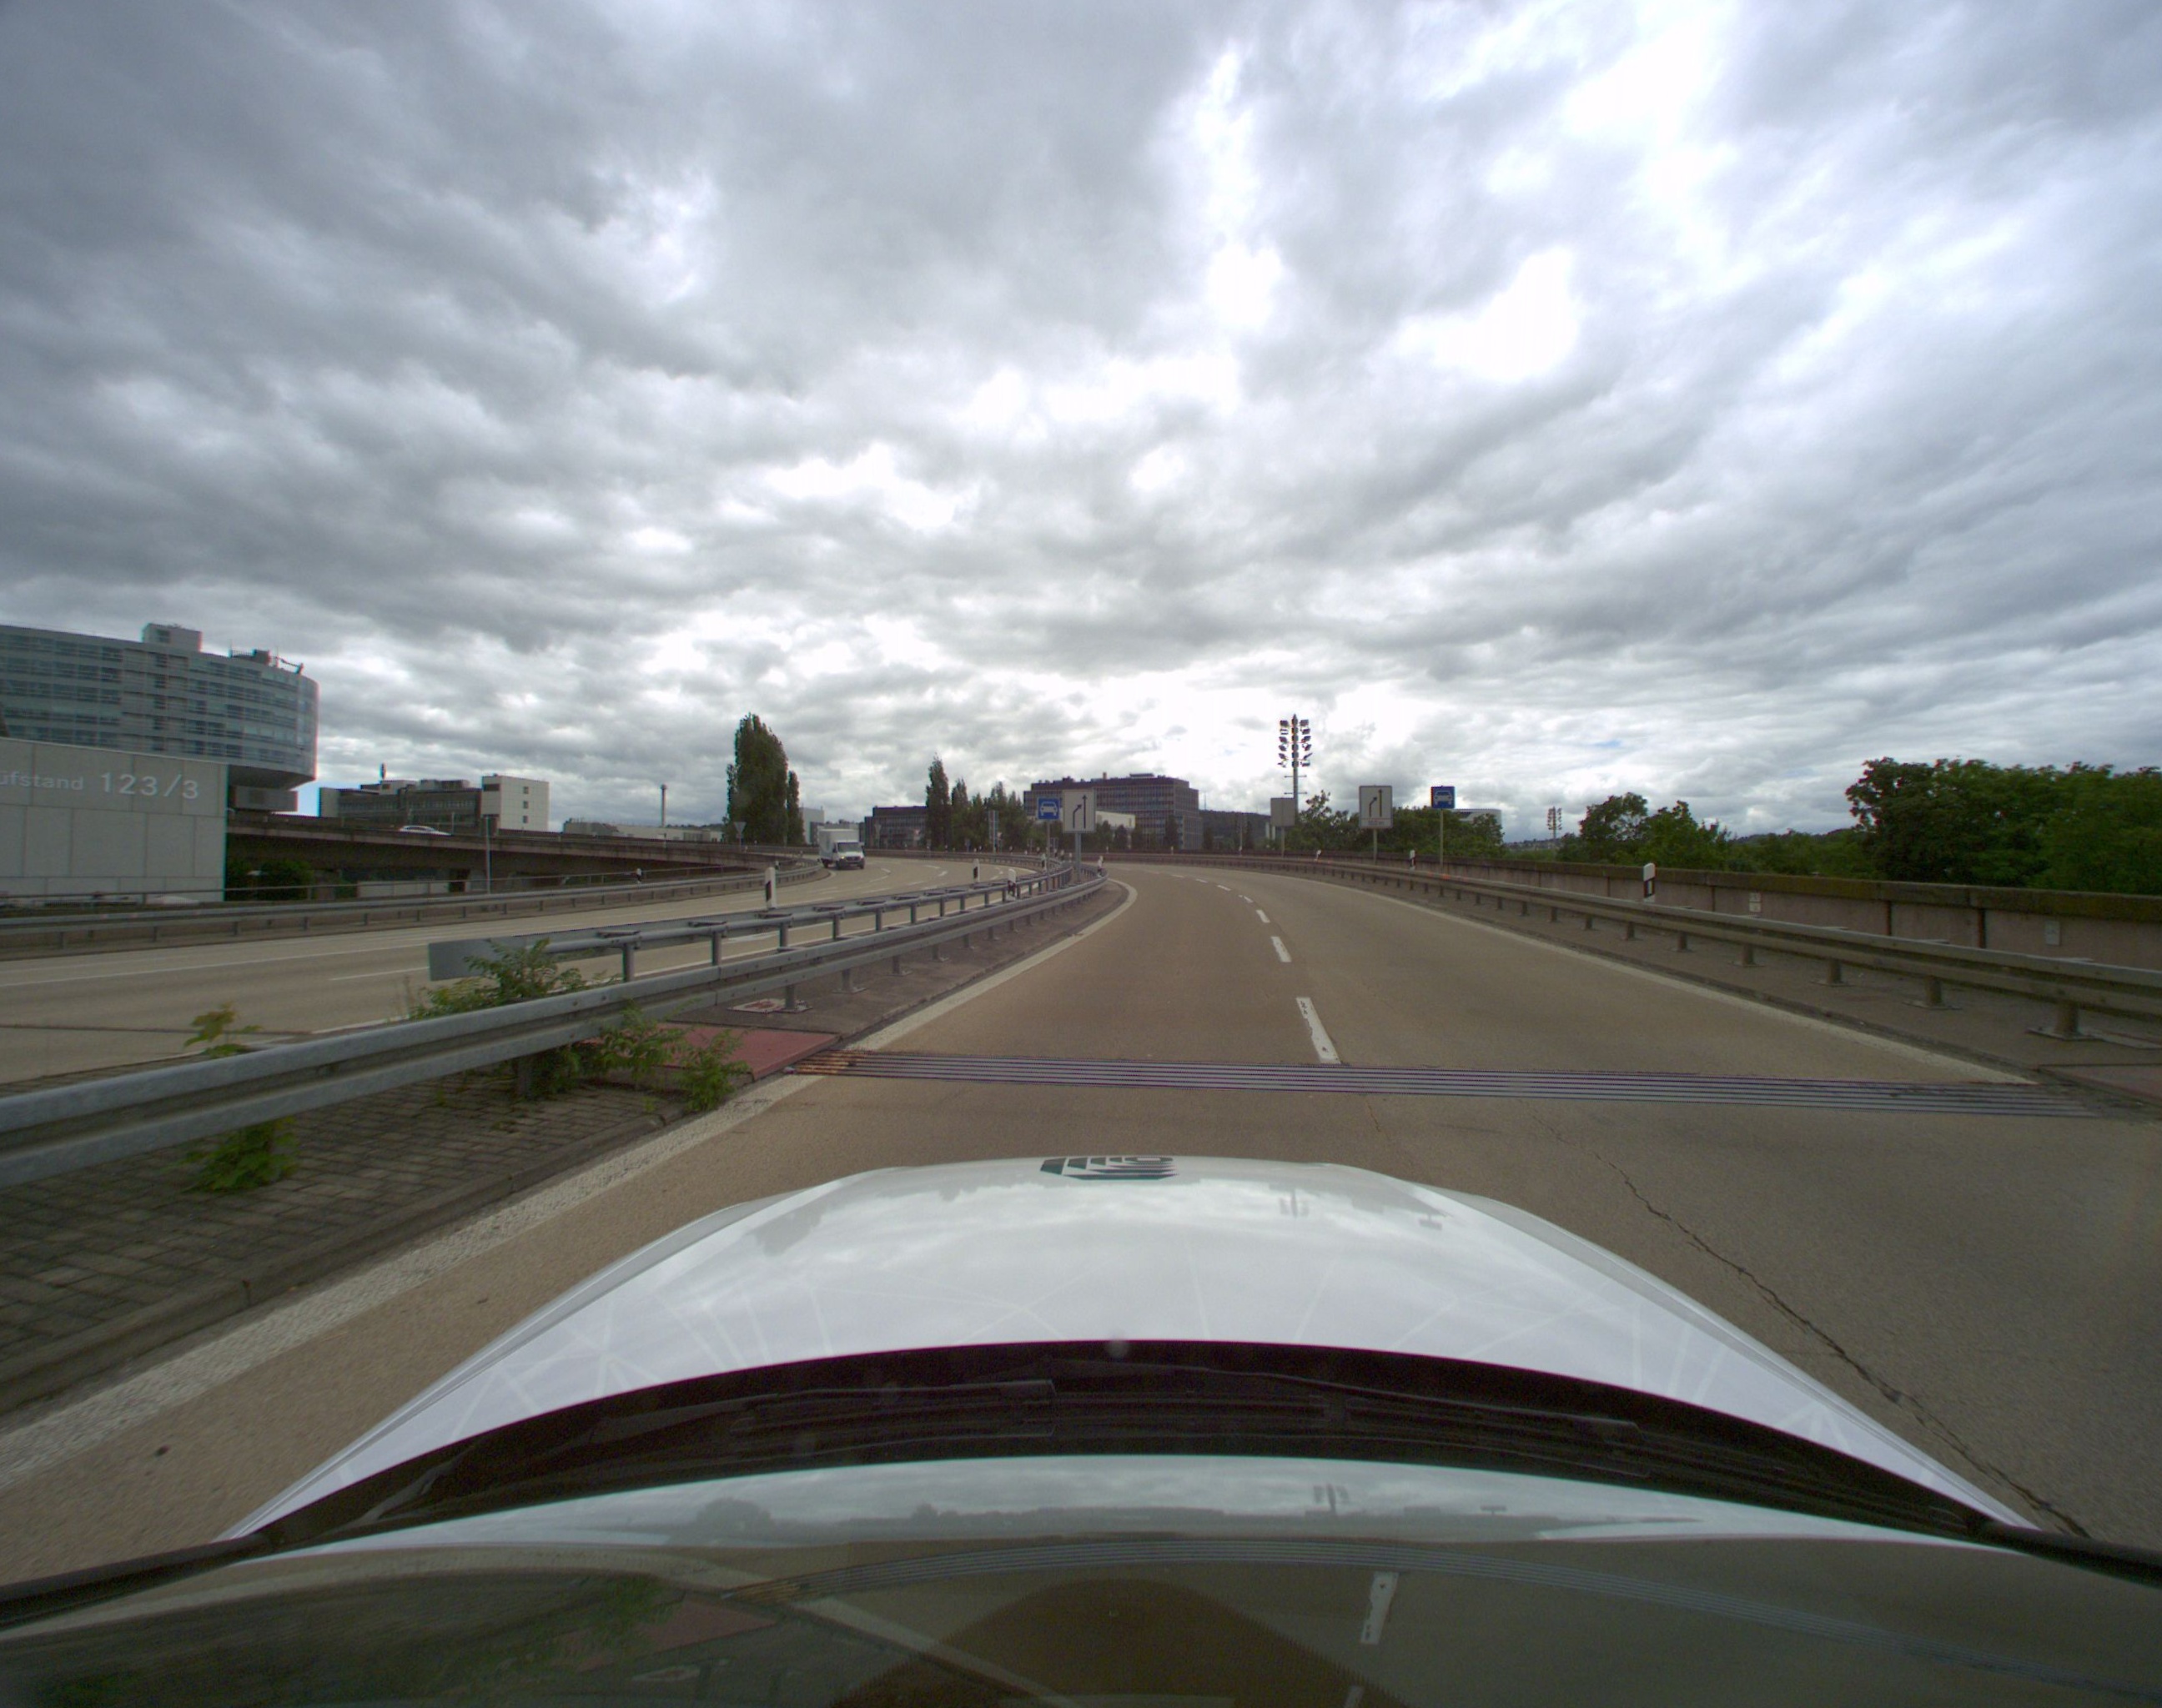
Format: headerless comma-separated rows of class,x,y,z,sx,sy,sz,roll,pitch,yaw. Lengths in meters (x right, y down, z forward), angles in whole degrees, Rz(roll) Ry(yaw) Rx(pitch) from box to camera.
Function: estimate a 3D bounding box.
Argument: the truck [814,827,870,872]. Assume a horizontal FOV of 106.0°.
truck,-18.549,-0.336,62.968,2.361,3.263,6.924,2,-1,-32
